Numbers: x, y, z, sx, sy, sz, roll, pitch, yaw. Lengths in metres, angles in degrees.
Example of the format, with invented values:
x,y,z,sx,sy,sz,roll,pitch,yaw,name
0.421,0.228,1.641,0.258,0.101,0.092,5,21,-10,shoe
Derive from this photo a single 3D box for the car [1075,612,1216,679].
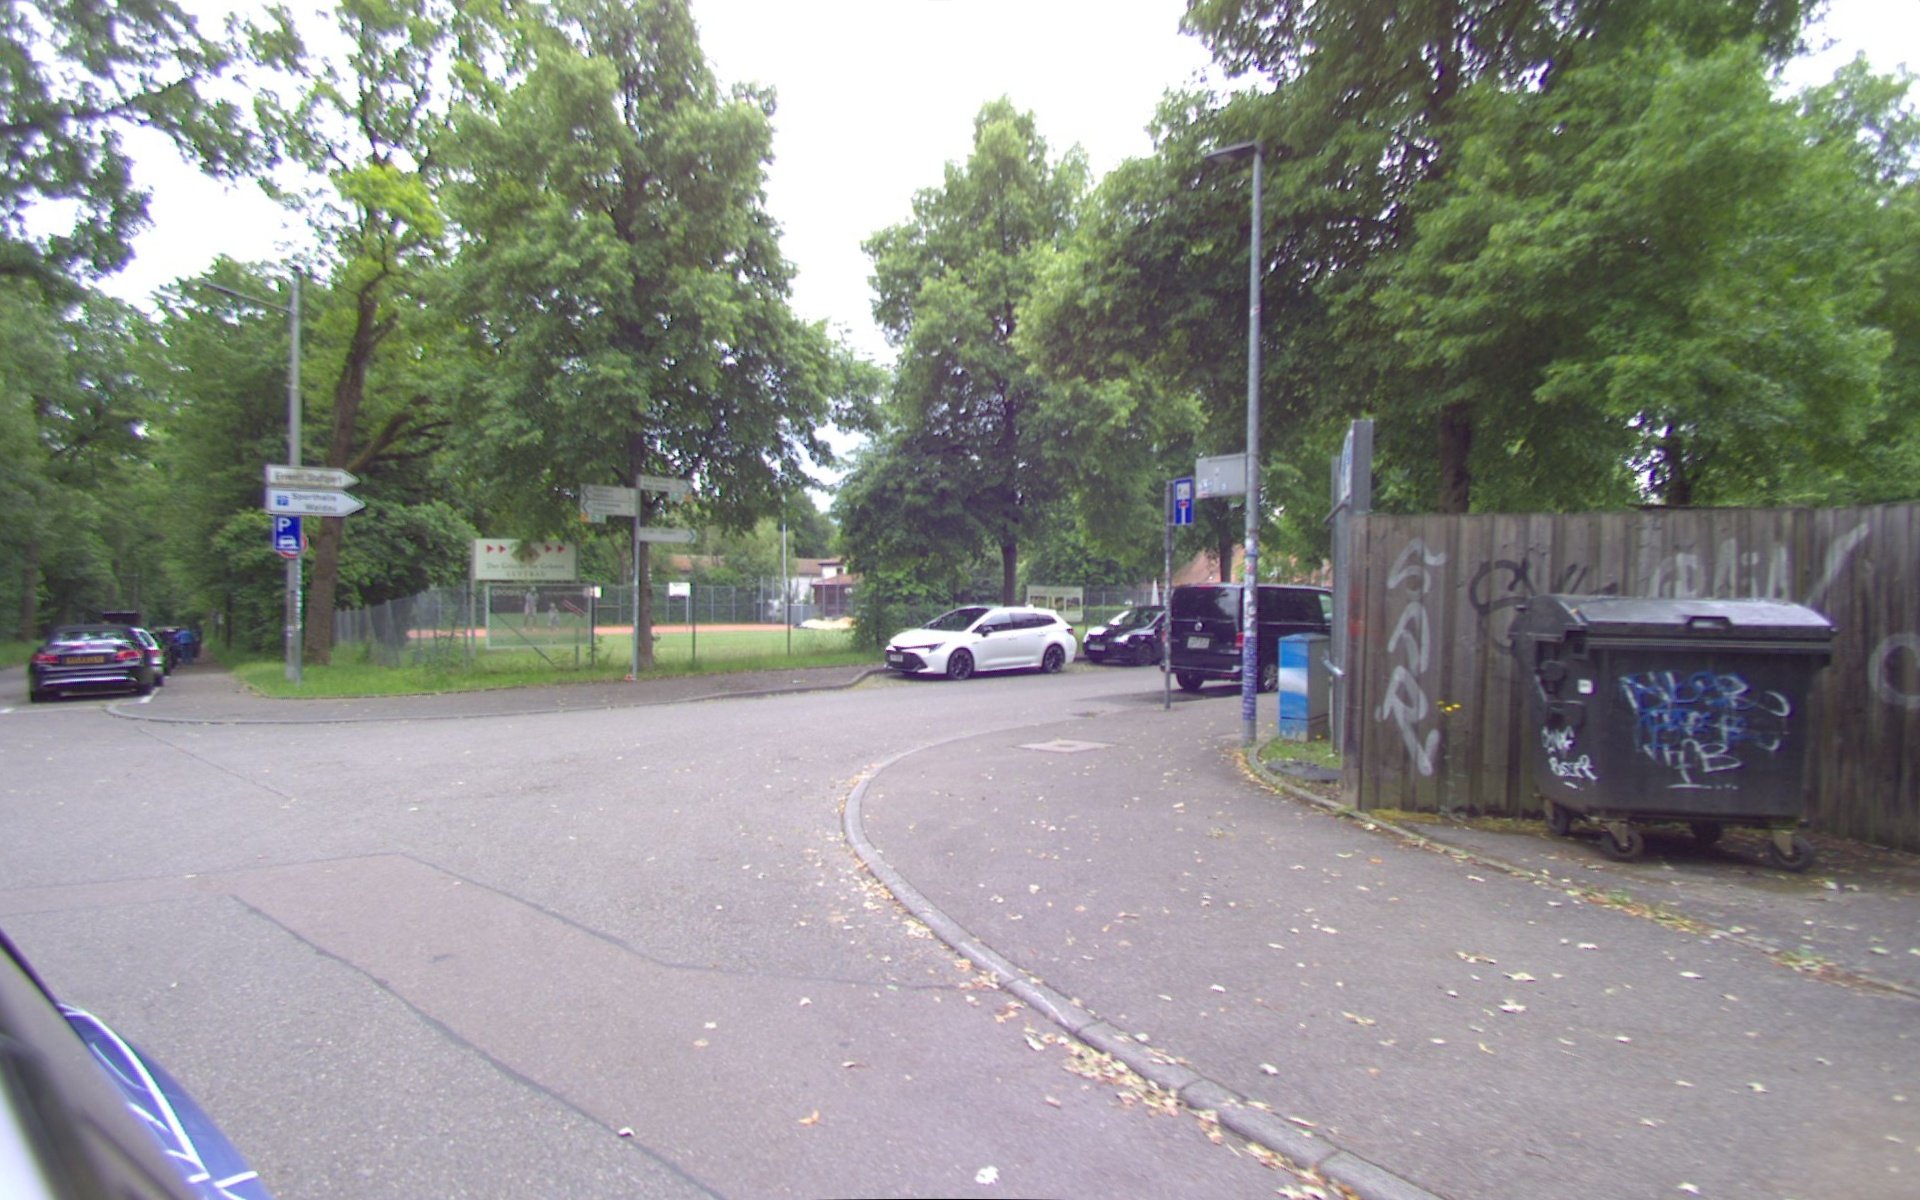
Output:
x,y,z,sx,sy,sz,roll,pitch,yaw,name
4.605,1.054,24.877,3.610,1.466,1.552,0,1,-43,car

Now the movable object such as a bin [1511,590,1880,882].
x,y,z,sx,sy,sz,roll,pitch,yaw,name
4.005,0.691,5.670,1.270,1.453,1.077,0,-2,6,movable object such as a bin

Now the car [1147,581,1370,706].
x,y,z,sx,sy,sz,roll,pitch,yaw,name
5.534,0.737,18.567,4.043,2.029,1.998,0,-1,-40,car

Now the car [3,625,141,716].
x,y,z,sx,sy,sz,roll,pitch,yaw,name
-17.079,1.329,19.637,1.744,1.506,4.335,-1,-2,-38,car

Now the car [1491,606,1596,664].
x,y,z,sx,sy,sz,roll,pitch,yaw,name
15.966,0.921,27.653,3.138,1.492,1.476,0,-1,-40,car

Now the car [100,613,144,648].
x,y,z,sx,sy,sz,roll,pitch,yaw,name
-64.811,2.362,78.243,2.541,2.554,4.944,-1,-1,-40,car

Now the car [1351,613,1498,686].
x,y,z,sx,sy,sz,roll,pitch,yaw,name
10.353,1.043,22.497,3.465,1.492,1.605,0,-1,-40,car

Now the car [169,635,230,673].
x,y,z,sx,sy,sz,roll,pitch,yaw,name
-34.659,2.417,46.106,1.928,1.631,3.644,2,-2,-41,car

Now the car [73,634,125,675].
x,y,z,sx,sy,sz,roll,pitch,yaw,name
-36.584,2.300,42.989,1.596,1.604,3.524,-1,-1,-41,car

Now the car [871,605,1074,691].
x,y,z,sx,sy,sz,roll,pitch,yaw,name
0.336,0.932,21.228,4.151,1.608,1.773,0,0,-42,car

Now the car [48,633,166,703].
x,y,z,sx,sy,sz,roll,pitch,yaw,name
-20.014,1.571,23.891,1.968,1.431,4.008,-1,-2,-38,car
